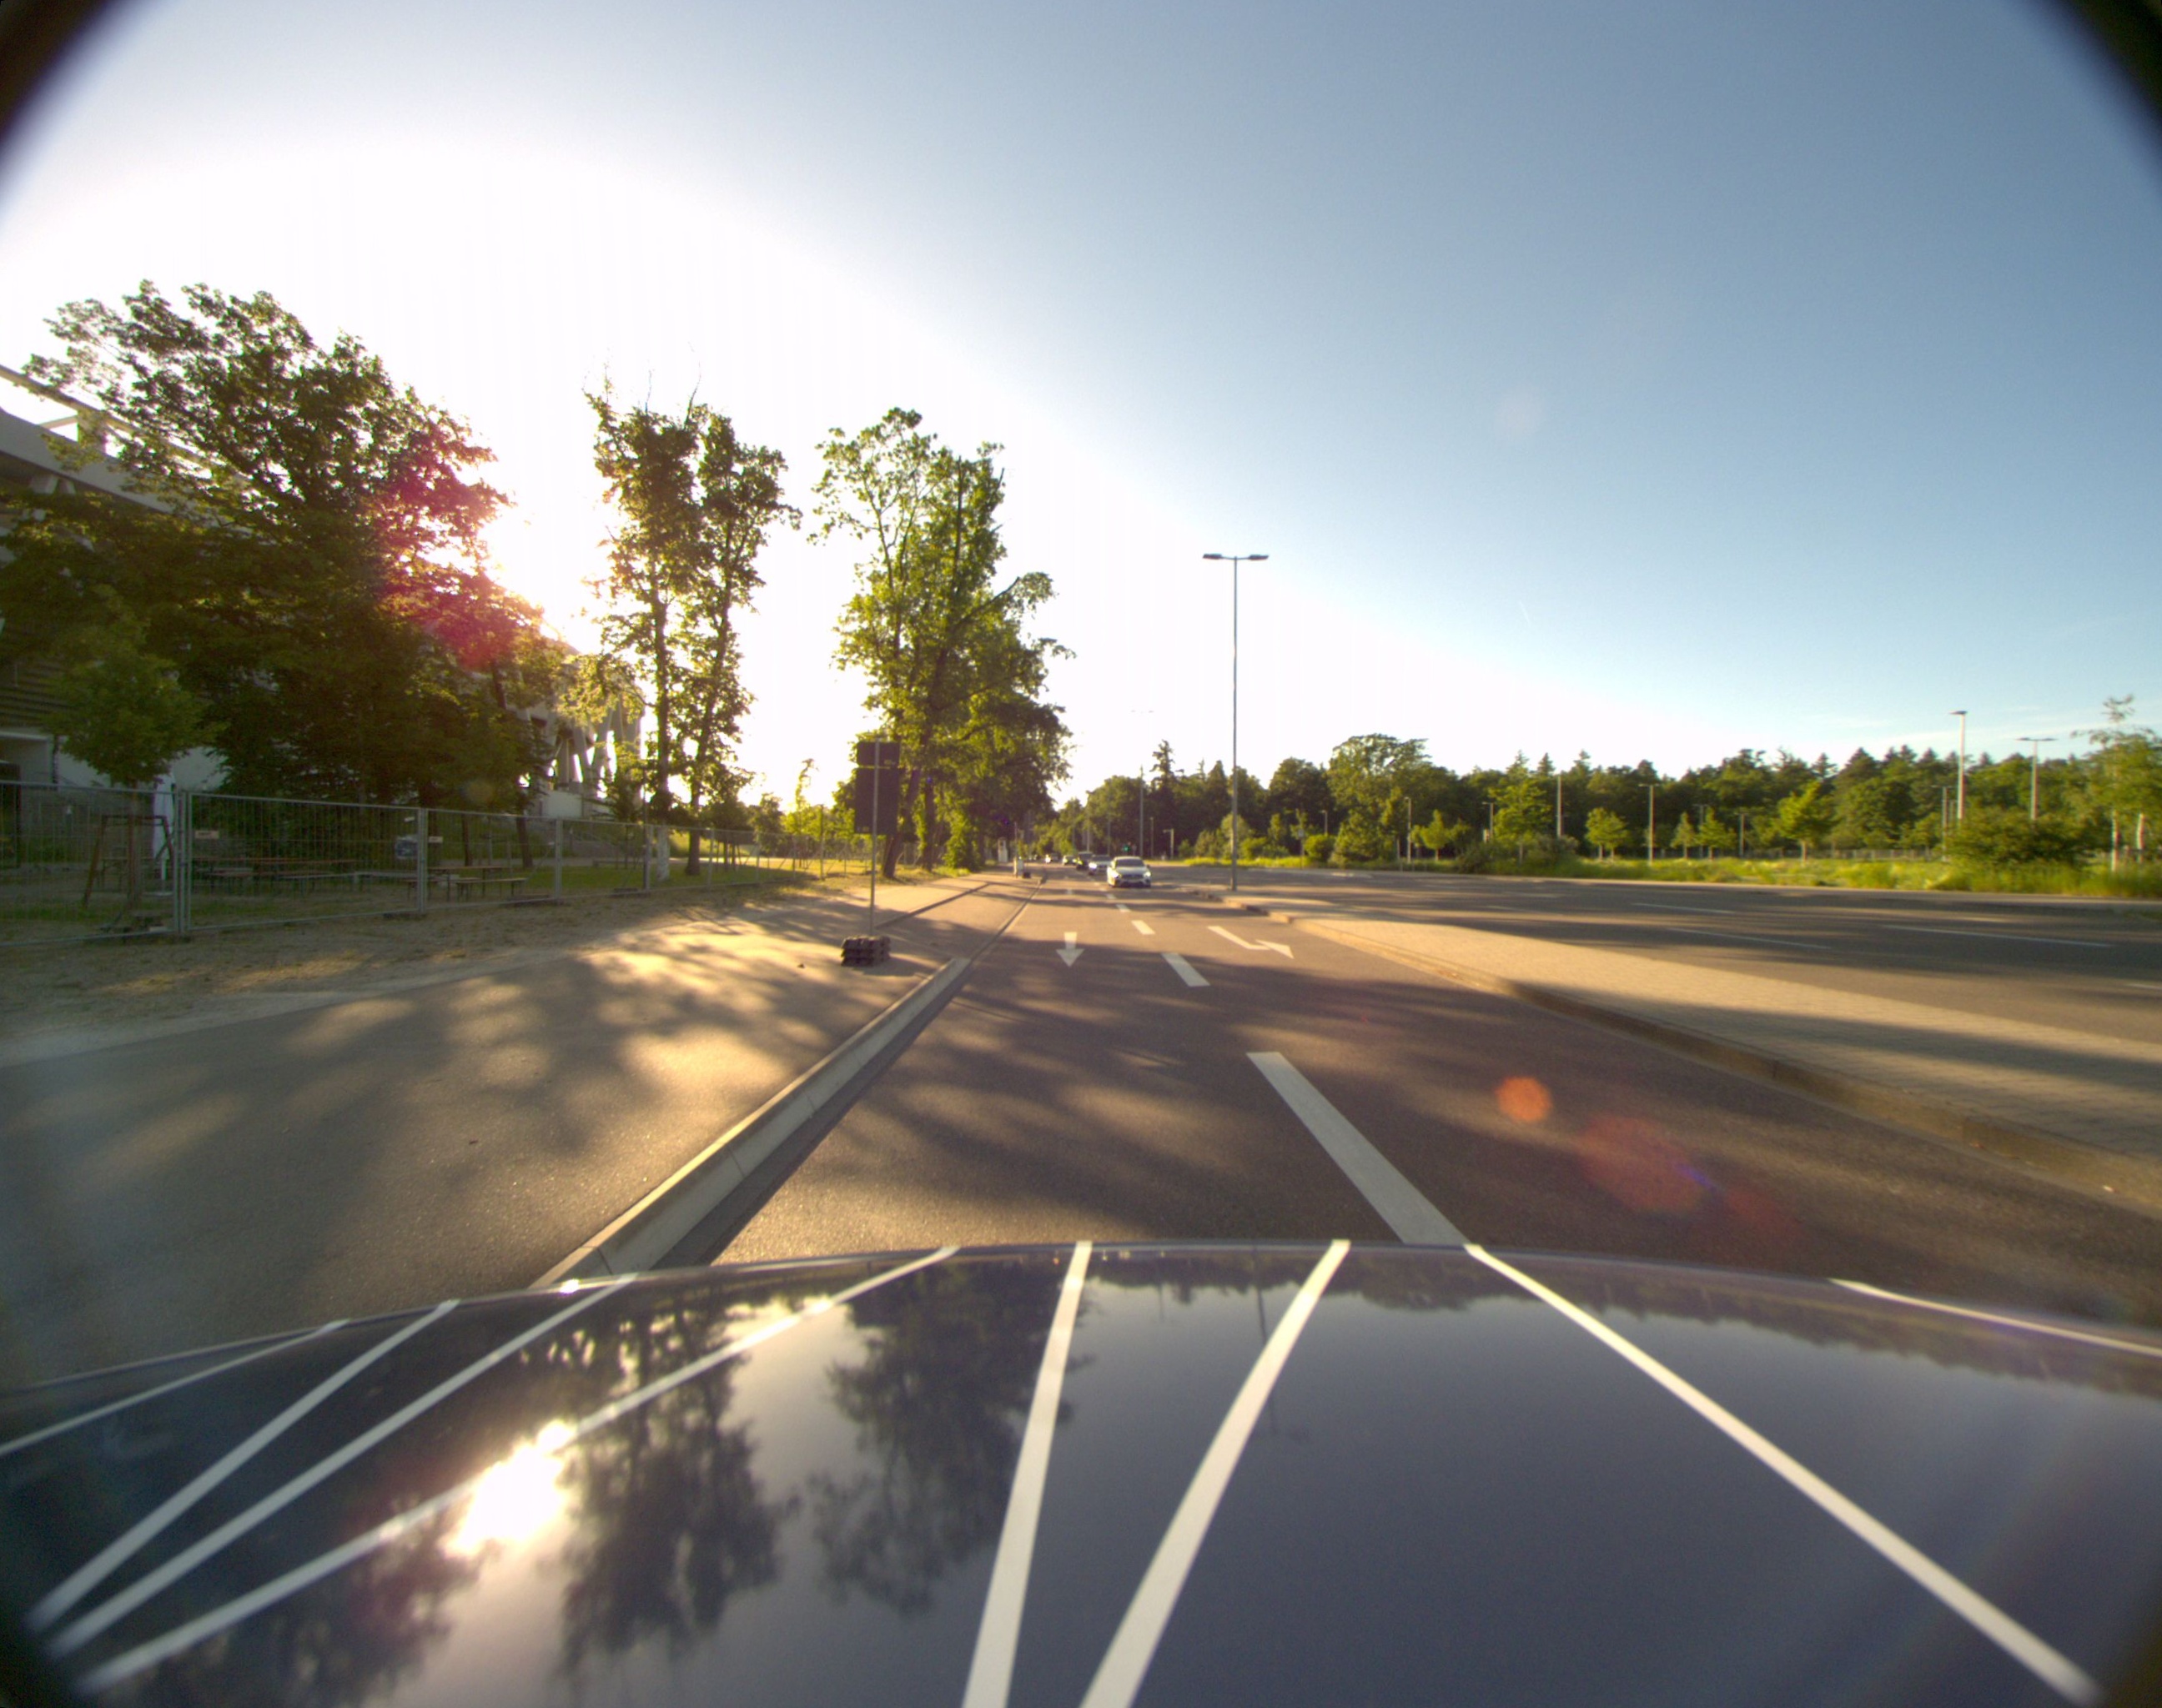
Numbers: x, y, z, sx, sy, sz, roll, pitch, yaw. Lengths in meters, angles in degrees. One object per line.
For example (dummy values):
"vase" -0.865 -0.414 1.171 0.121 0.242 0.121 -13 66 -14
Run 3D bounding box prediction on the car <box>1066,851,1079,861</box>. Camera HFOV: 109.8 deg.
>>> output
"car" -1.280 0.242 112.012 1.841 1.395 4.990 -1 0 -2

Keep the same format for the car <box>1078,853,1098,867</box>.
"car" 0.710 0.593 81.461 1.841 1.395 4.990 -1 0 -3

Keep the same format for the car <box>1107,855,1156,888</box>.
"car" 2.335 0.794 35.975 1.841 1.395 3.999 -1 0 -2

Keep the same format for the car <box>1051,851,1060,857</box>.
"car" -5.653 -0.017 169.941 1.842 1.395 4.989 -1 0 -4

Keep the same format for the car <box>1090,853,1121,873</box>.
"car" 1.769 0.656 56.625 1.841 1.395 4.990 -1 0 -3
